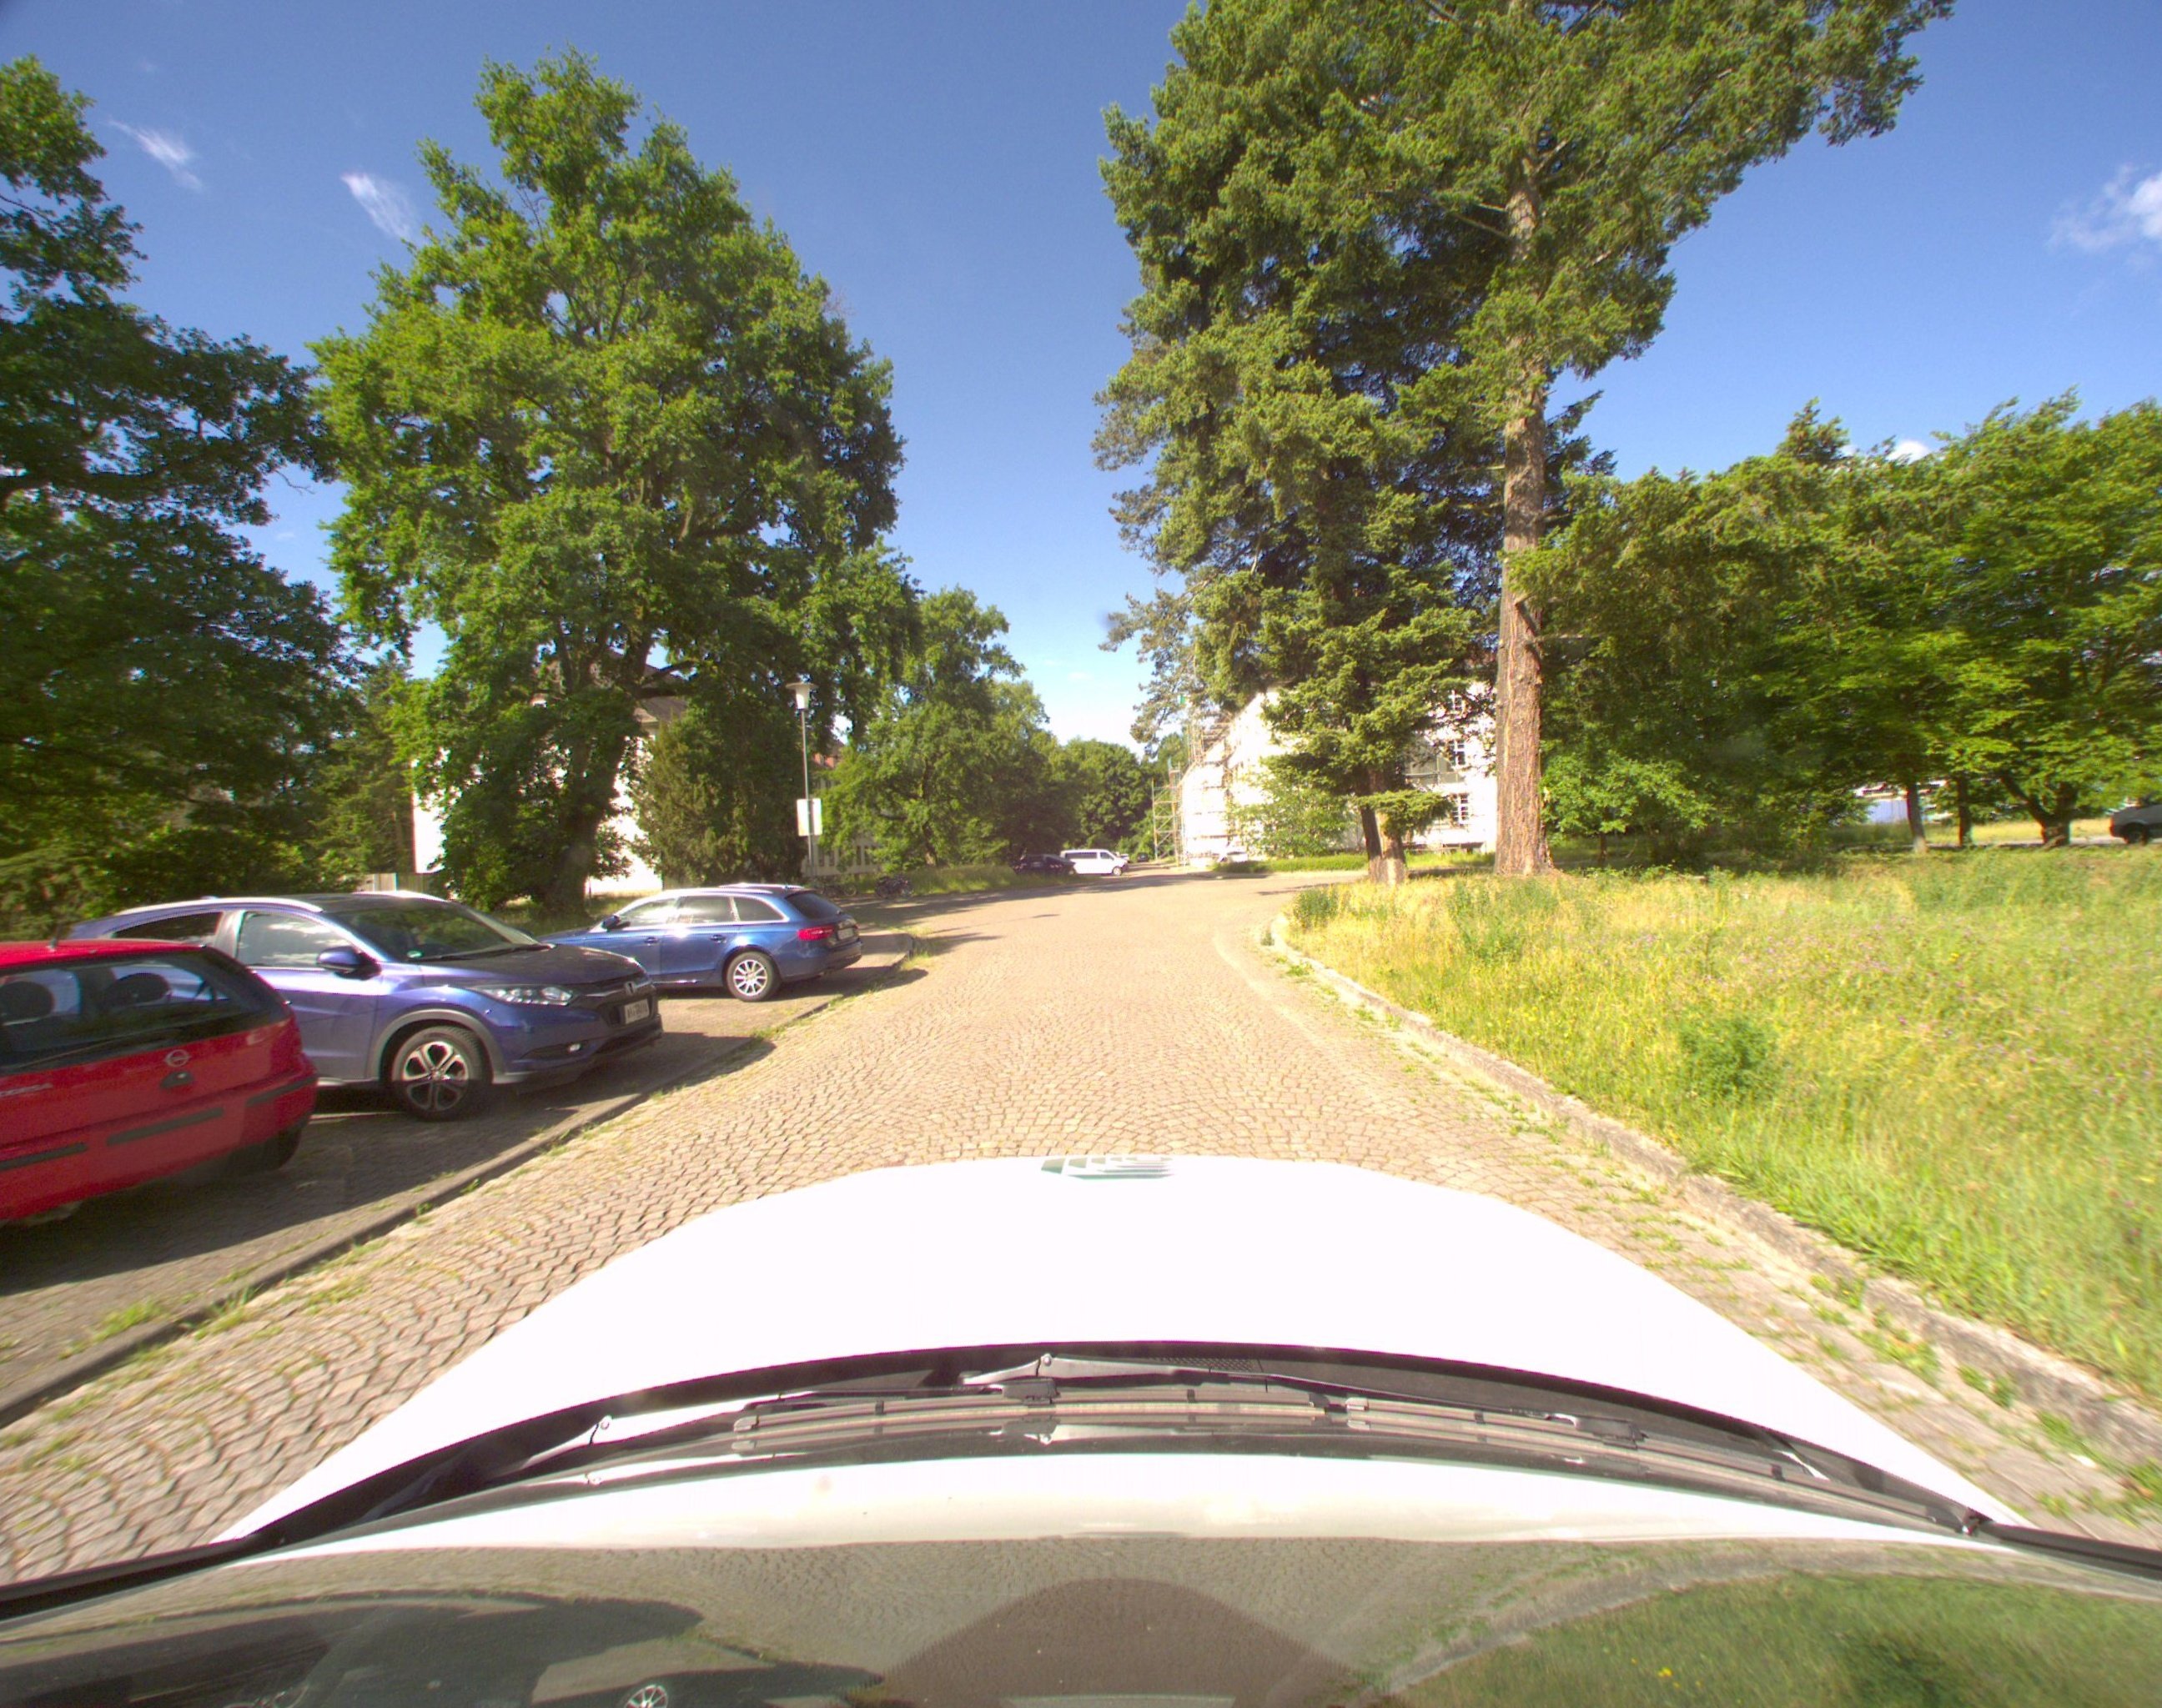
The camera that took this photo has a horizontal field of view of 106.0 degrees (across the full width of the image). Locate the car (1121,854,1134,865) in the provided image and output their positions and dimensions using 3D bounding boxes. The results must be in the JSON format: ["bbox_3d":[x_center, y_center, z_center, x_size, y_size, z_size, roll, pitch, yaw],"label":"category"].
[{"bbox_3d":[7.175,0.847,125.756,1.805,1.579,4.137,-4,0,2],"label":"car"}]

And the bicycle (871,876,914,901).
[{"bbox_3d":[-9.218,1.679,39.818,1.924,1.058,0.472,-5,0,-27],"label":"bicycle"}]

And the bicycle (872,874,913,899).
[{"bbox_3d":[-9.594,1.645,41.381,1.920,1.058,0.473,-5,0,-20],"label":"bicycle"}]

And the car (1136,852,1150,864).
[{"bbox_3d":[9.577,0.646,125.965,1.963,1.668,4.088,-4,0,2],"label":"car"}]

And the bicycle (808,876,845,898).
[{"bbox_3d":[-14.434,1.866,46.243,1.920,1.103,0.566,-3,1,-21],"label":"bicycle"}]

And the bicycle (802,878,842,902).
[{"bbox_3d":[-13.462,1.866,42.356,1.923,1.103,0.565,-3,1,-26],"label":"bicycle"}]

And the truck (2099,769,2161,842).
[{"bbox_3d":[37.235,-1.680,25.508,2.224,2.424,6.889,-2,0,2],"label":"truck"}]

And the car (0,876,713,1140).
[{"bbox_3d":[-5.472,1.089,6.498,4.118,1.579,1.886,-3,0,2],"label":"car"}]

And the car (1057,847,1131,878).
[{"bbox_3d":[0.989,0.631,59.891,5.214,2.016,1.951,-3,0,2],"label":"car"}]

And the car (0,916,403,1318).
[{"bbox_3d":[-6.169,1.191,4.146,3.906,1.433,1.844,-3,0,4],"label":"car"}]

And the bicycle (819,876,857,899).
[{"bbox_3d":[-13.335,1.831,44.739,1.917,1.103,0.567,-3,1,-17],"label":"bicycle"}]

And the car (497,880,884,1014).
[{"bbox_3d":[-5.177,1.216,11.176,4.338,1.445,1.924,-3,0,5],"label":"car"}]

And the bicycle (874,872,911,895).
[{"bbox_3d":[-10.586,1.658,45.822,1.919,1.058,0.473,-5,0,-19],"label":"bicycle"}]

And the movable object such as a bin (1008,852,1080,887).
[{"bbox_3d":[-2.110,0.885,46.895,3.535,1.744,2.035,-4,0,21],"label":"movable object such as a bin"}]

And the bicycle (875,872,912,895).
[{"bbox_3d":[-10.428,1.645,45.350,1.919,1.058,0.473,-5,0,-19],"label":"bicycle"}]

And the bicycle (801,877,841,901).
[{"bbox_3d":[-13.926,1.862,43.675,1.923,1.103,0.565,-3,1,-26],"label":"bicycle"}]

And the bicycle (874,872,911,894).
[{"bbox_3d":[-10.725,1.668,46.267,1.919,1.058,0.473,-5,0,-19],"label":"bicycle"}]

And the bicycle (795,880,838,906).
[{"bbox_3d":[-13.036,1.895,40.181,1.921,1.102,0.566,-4,1,-22],"label":"bicycle"}]

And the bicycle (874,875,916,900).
[{"bbox_3d":[-9.206,1.651,40.373,1.924,1.058,0.472,-5,0,-27],"label":"bicycle"}]

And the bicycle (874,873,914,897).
[{"bbox_3d":[-9.820,1.625,42.745,1.920,1.058,0.473,-5,0,-20],"label":"bicycle"}]

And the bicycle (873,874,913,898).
[{"bbox_3d":[-9.673,1.658,41.948,1.920,1.058,0.473,-5,0,-20],"label":"bicycle"}]

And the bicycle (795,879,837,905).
[{"bbox_3d":[-13.224,1.902,40.685,1.921,1.102,0.566,-4,1,-22],"label":"bicycle"}]

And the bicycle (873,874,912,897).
[{"bbox_3d":[-10.082,1.673,43.568,1.919,1.058,0.473,-5,0,-19],"label":"bicycle"}]
